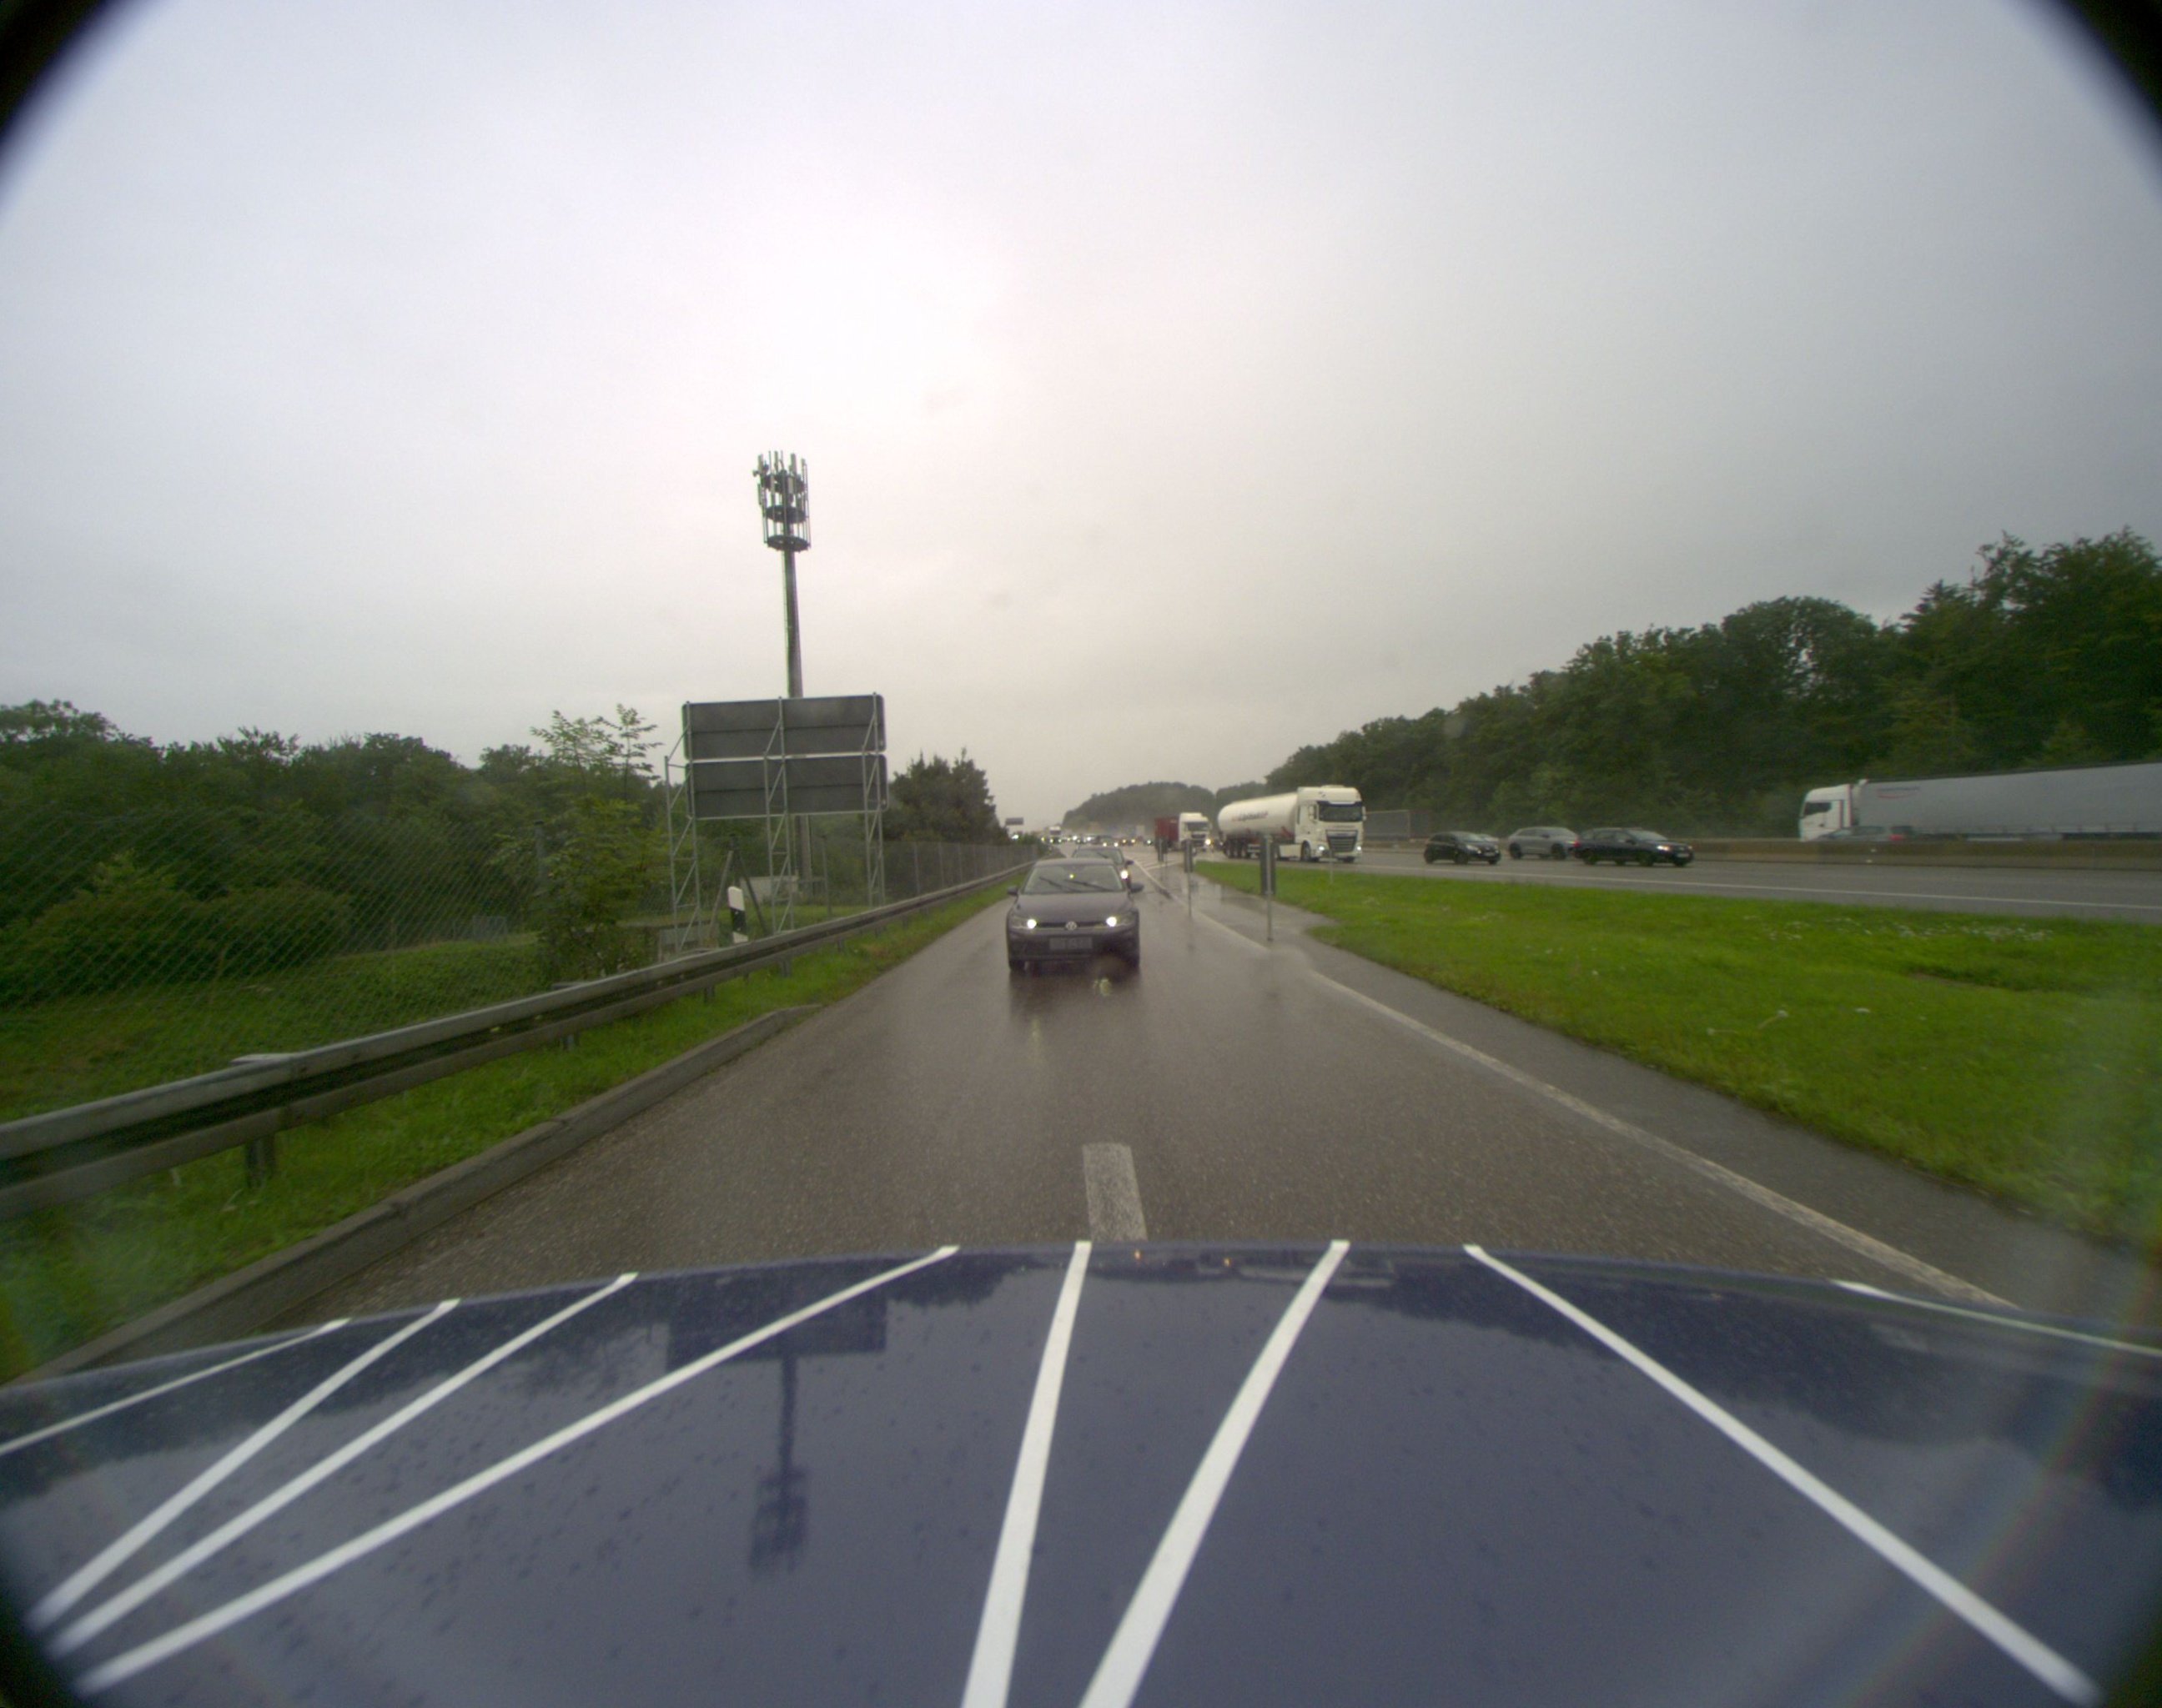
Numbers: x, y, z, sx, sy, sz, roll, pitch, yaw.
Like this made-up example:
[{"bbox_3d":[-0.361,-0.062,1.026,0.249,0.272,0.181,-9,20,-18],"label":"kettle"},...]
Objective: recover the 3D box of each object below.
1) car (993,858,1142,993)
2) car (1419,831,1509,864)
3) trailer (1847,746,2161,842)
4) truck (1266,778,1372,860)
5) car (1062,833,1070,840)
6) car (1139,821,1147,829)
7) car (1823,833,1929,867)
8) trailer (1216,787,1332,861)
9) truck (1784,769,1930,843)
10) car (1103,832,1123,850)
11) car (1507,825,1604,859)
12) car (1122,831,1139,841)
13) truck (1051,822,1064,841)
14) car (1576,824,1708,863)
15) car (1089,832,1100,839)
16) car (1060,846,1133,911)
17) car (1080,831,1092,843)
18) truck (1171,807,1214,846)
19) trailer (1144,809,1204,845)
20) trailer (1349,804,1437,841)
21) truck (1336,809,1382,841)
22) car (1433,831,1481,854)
[{"bbox_3d":[-0.146,0.857,11.097,1.670,1.395,4.260,-3,1,0],"label":"car"},{"bbox_3d":[17.299,-0.329,34.562,1.823,1.365,3.997,-1,1,-5],"label":"car"},{"bbox_3d":[43.896,-2.602,34.202,2.733,3.518,14.049,-6,0,-9],"label":"trailer"},{"bbox_3d":[12.501,-1.797,40.567,2.759,3.986,6.501,-1,1,-9],"label":"truck"},{"bbox_3d":[-3.864,-4.505,195.942,1.775,1.668,3.996,-4,2,-6],"label":"car"},{"bbox_3d":[18.667,-8.852,229.986,1.998,2.153,4.275,-5,2,1],"label":"car"},{"bbox_3d":[39.010,-0.178,37.384,1.414,1.324,3.279,-7,-2,-10],"label":"car"},{"bbox_3d":[11.509,-1.741,46.880,2.771,4.003,11.030,-1,1,-9],"label":"trailer"},{"bbox_3d":[42.631,-2.527,41.930,2.723,3.514,4.758,-6,0,-9],"label":"truck"},{"bbox_3d":[4.145,-1.739,98.527,1.918,2.003,3.996,-7,4,-5],"label":"car"},{"bbox_3d":[24.563,-0.662,39.512,1.824,1.659,4.400,0,1,-9],"label":"car"},{"bbox_3d":[8.363,-2.969,127.732,1.789,1.550,4.094,-2,0,-12],"label":"car"},{"bbox_3d":[-5.355,-5.026,170.388,2.597,4.121,5.228,-5,1,-2],"label":"truck"},{"bbox_3d":[22.173,-0.403,30.245,1.824,1.406,4.120,-1,1,-9],"label":"car"},{"bbox_3d":[2.912,-4.181,169.752,1.797,1.499,3.996,-1,0,-9],"label":"car"},{"bbox_3d":[0.483,0.636,22.371,1.810,1.532,3.999,-5,2,2],"label":"car"},{"bbox_3d":[0.953,-3.591,159.031,1.918,2.003,3.996,-7,4,-5],"label":"car"},{"bbox_3d":[11.311,-2.791,77.343,2.698,3.636,5.320,-5,2,-8],"label":"truck"},{"bbox_3d":[10.172,-2.933,85.615,2.692,3.486,15.110,-5,2,-8],"label":"trailer"},{"bbox_3d":[35.797,-3.488,88.147,3.037,3.790,13.397,-3,1,-8],"label":"trailer"},{"bbox_3d":[34.805,-3.595,95.276,3.051,3.726,5.640,-3,1,-8],"label":"truck"},{"bbox_3d":[28.725,-0.846,58.125,1.414,1.324,3.398,-7,-2,-10],"label":"car"}]
